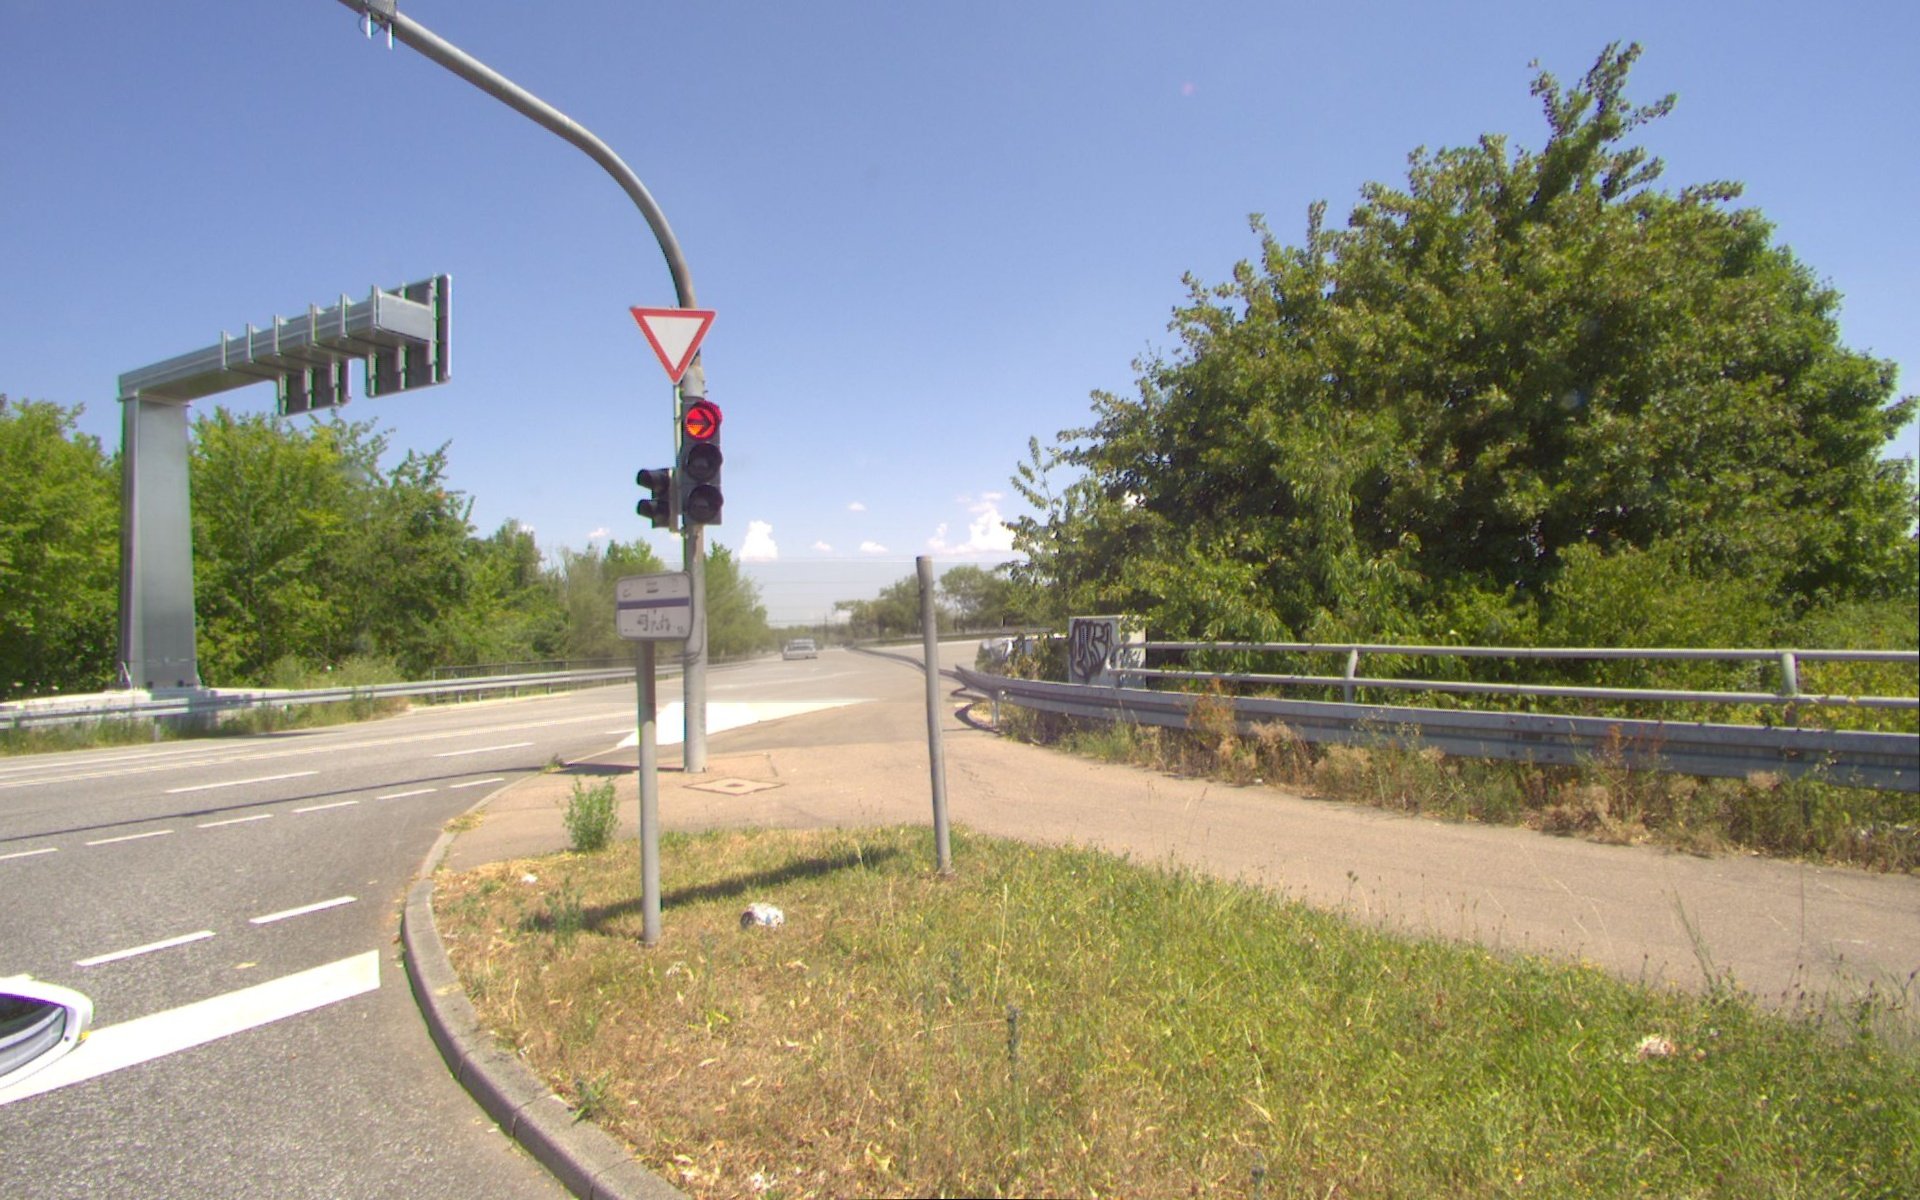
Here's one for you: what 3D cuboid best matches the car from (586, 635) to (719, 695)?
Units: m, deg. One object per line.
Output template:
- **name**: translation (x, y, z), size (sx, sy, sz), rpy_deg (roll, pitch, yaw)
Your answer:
- **car**: translation (-9.591, 2.004, 31.572), size (1.871, 1.651, 4.272), rpy_deg (-5, -4, 17)
